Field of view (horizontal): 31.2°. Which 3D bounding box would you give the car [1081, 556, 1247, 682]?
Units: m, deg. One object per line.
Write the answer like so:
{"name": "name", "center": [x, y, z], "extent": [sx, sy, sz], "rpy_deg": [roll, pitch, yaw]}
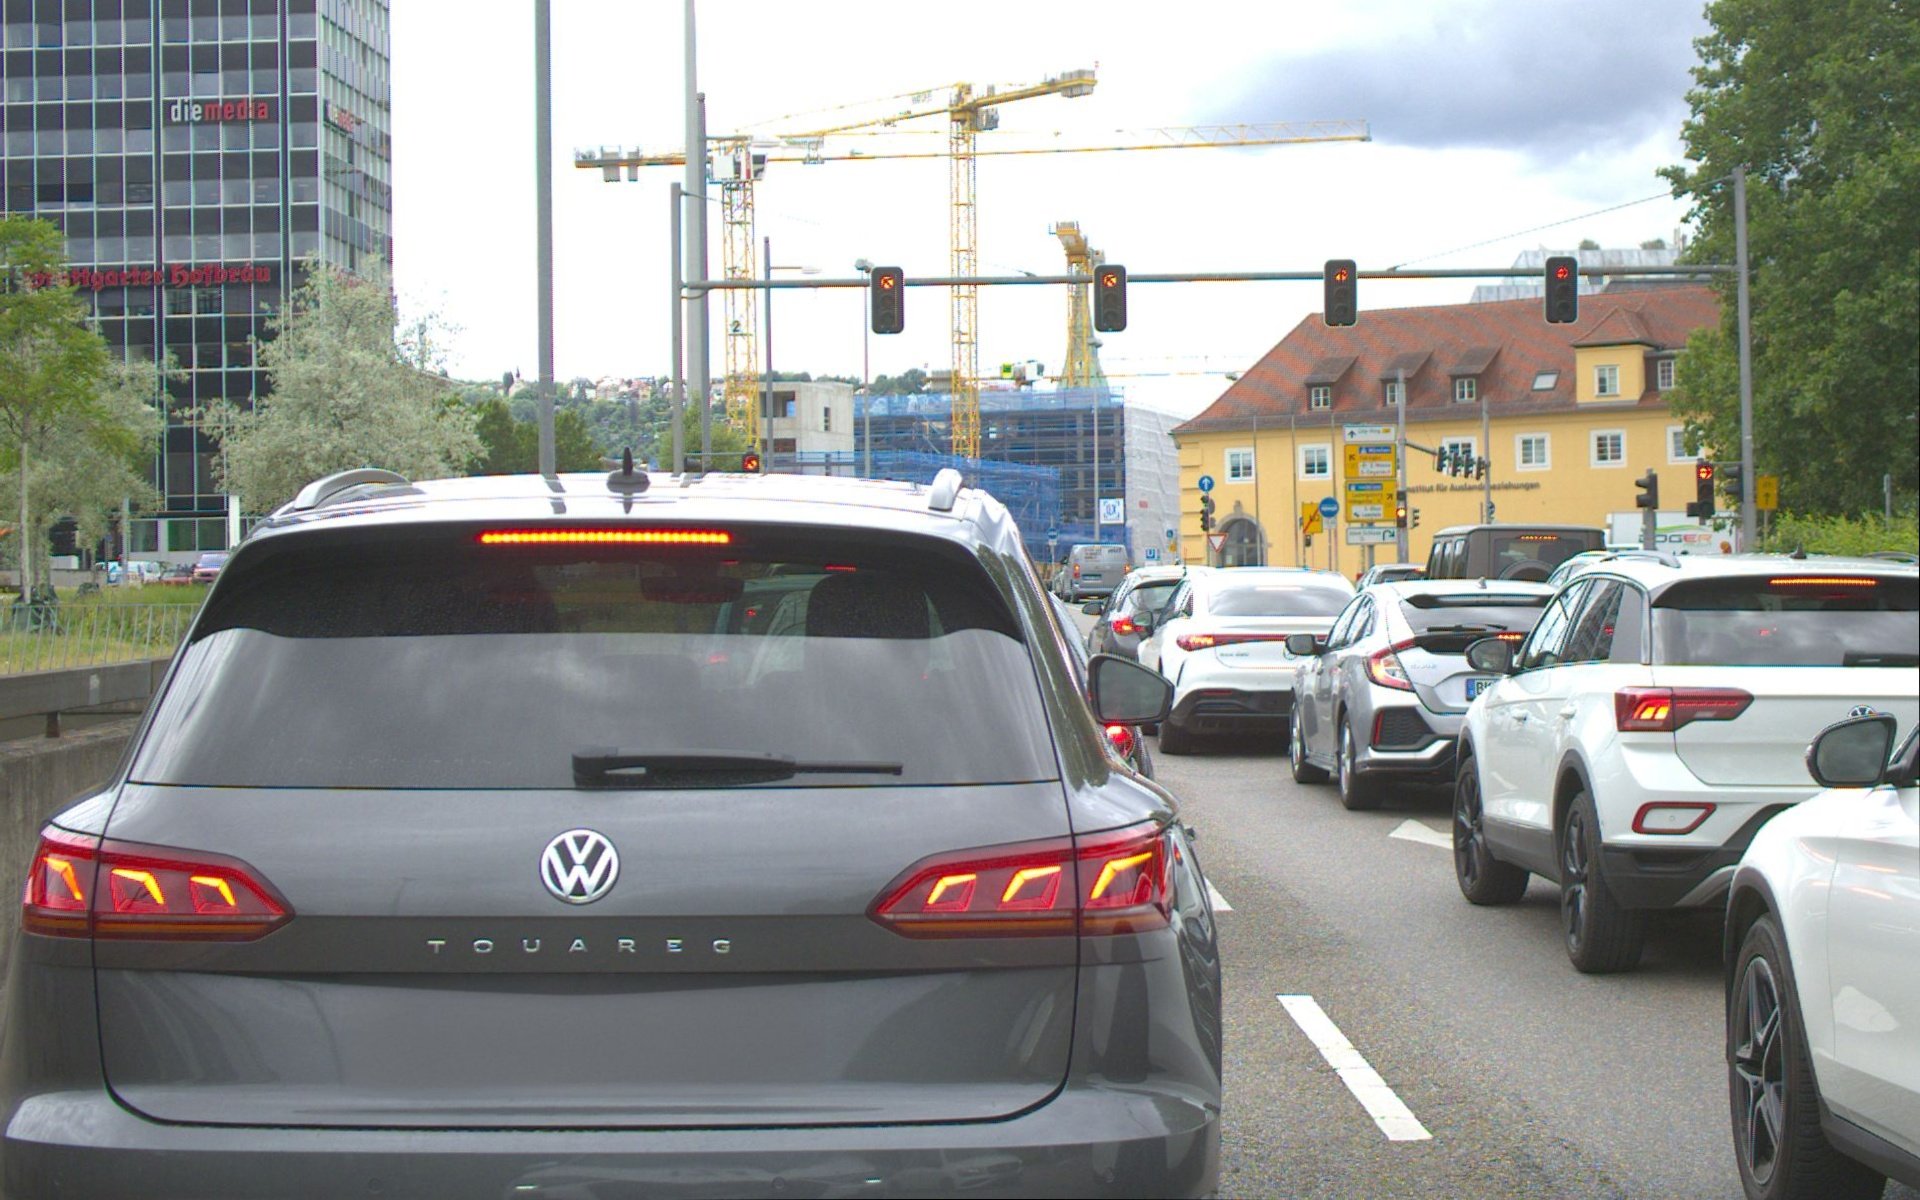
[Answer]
{"name": "car", "center": [2.560, 0.227, 44.036], "extent": [1.926, 1.524, 4.047], "rpy_deg": [0, 0, 1]}

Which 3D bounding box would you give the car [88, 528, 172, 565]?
{"name": "car", "center": [-46.469, -3.004, 192.458], "extent": [4.454, 2.007, 1.996], "rpy_deg": [1, -1, 34]}

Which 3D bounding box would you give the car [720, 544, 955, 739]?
{"name": "car", "center": [-1.064, 0.328, 31.030], "extent": [1.951, 1.594, 3.931], "rpy_deg": [1, 1, -1]}

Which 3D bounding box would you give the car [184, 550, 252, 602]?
{"name": "car", "center": [-30.595, -1.018, 141.801], "extent": [1.993, 2.006, 4.693], "rpy_deg": [0, 2, -3]}

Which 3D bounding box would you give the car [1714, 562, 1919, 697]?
{"name": "car", "center": [10.078, 0.349, 40.018], "extent": [1.932, 1.455, 4.526], "rpy_deg": [1, 0, 5]}

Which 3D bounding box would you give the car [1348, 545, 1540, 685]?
{"name": "car", "center": [6.233, 0.187, 44.696], "extent": [1.910, 1.691, 4.012], "rpy_deg": [1, 0, 0]}

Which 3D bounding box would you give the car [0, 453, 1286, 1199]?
{"name": "car", "center": [-0.564, 0.602, 6.665], "extent": [1.951, 1.646, 4.000], "rpy_deg": [0, 1, -1]}

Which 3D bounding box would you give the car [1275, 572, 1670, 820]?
{"name": "car", "center": [3.180, 0.553, 22.203], "extent": [1.926, 1.427, 4.489], "rpy_deg": [0, 0, 1]}

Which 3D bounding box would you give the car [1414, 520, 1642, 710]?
{"name": "car", "center": [6.397, 0.154, 39.116], "extent": [1.910, 2.007, 4.012], "rpy_deg": [1, 0, 0]}

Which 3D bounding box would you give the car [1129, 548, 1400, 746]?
{"name": "car", "center": [2.471, 0.361, 28.927], "extent": [1.926, 1.524, 4.489], "rpy_deg": [0, 0, 1]}

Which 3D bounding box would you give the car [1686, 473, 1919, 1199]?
{"name": "car", "center": [2.720, 0.590, 6.185], "extent": [1.926, 1.648, 4.490], "rpy_deg": [0, 1, 1]}

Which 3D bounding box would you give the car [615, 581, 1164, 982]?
{"name": "car", "center": [-0.282, 0.646, 14.403], "extent": [1.951, 1.379, 3.931], "rpy_deg": [1, 1, -1]}

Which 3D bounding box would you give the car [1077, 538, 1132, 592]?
{"name": "car", "center": [4.661, -1.122, 111.399], "extent": [1.619, 1.622, 4.000], "rpy_deg": [1, -1, 0]}

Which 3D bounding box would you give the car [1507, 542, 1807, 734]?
{"name": "car", "center": [6.433, 0.300, 32.199], "extent": [1.993, 1.634, 4.305], "rpy_deg": [0, 1, 1]}

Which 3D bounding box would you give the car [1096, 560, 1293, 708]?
{"name": "car", "center": [2.517, 0.347, 37.748], "extent": [1.926, 1.524, 4.047], "rpy_deg": [0, 0, 1]}

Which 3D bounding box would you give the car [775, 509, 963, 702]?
{"name": "car", "center": [-0.993, 0.034, 38.563], "extent": [1.951, 2.011, 3.931], "rpy_deg": [1, 1, -1]}

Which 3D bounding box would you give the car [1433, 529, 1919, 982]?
{"name": "car", "center": [3.181, 0.533, 14.035], "extent": [1.926, 1.545, 4.489], "rpy_deg": [0, 0, 1]}
